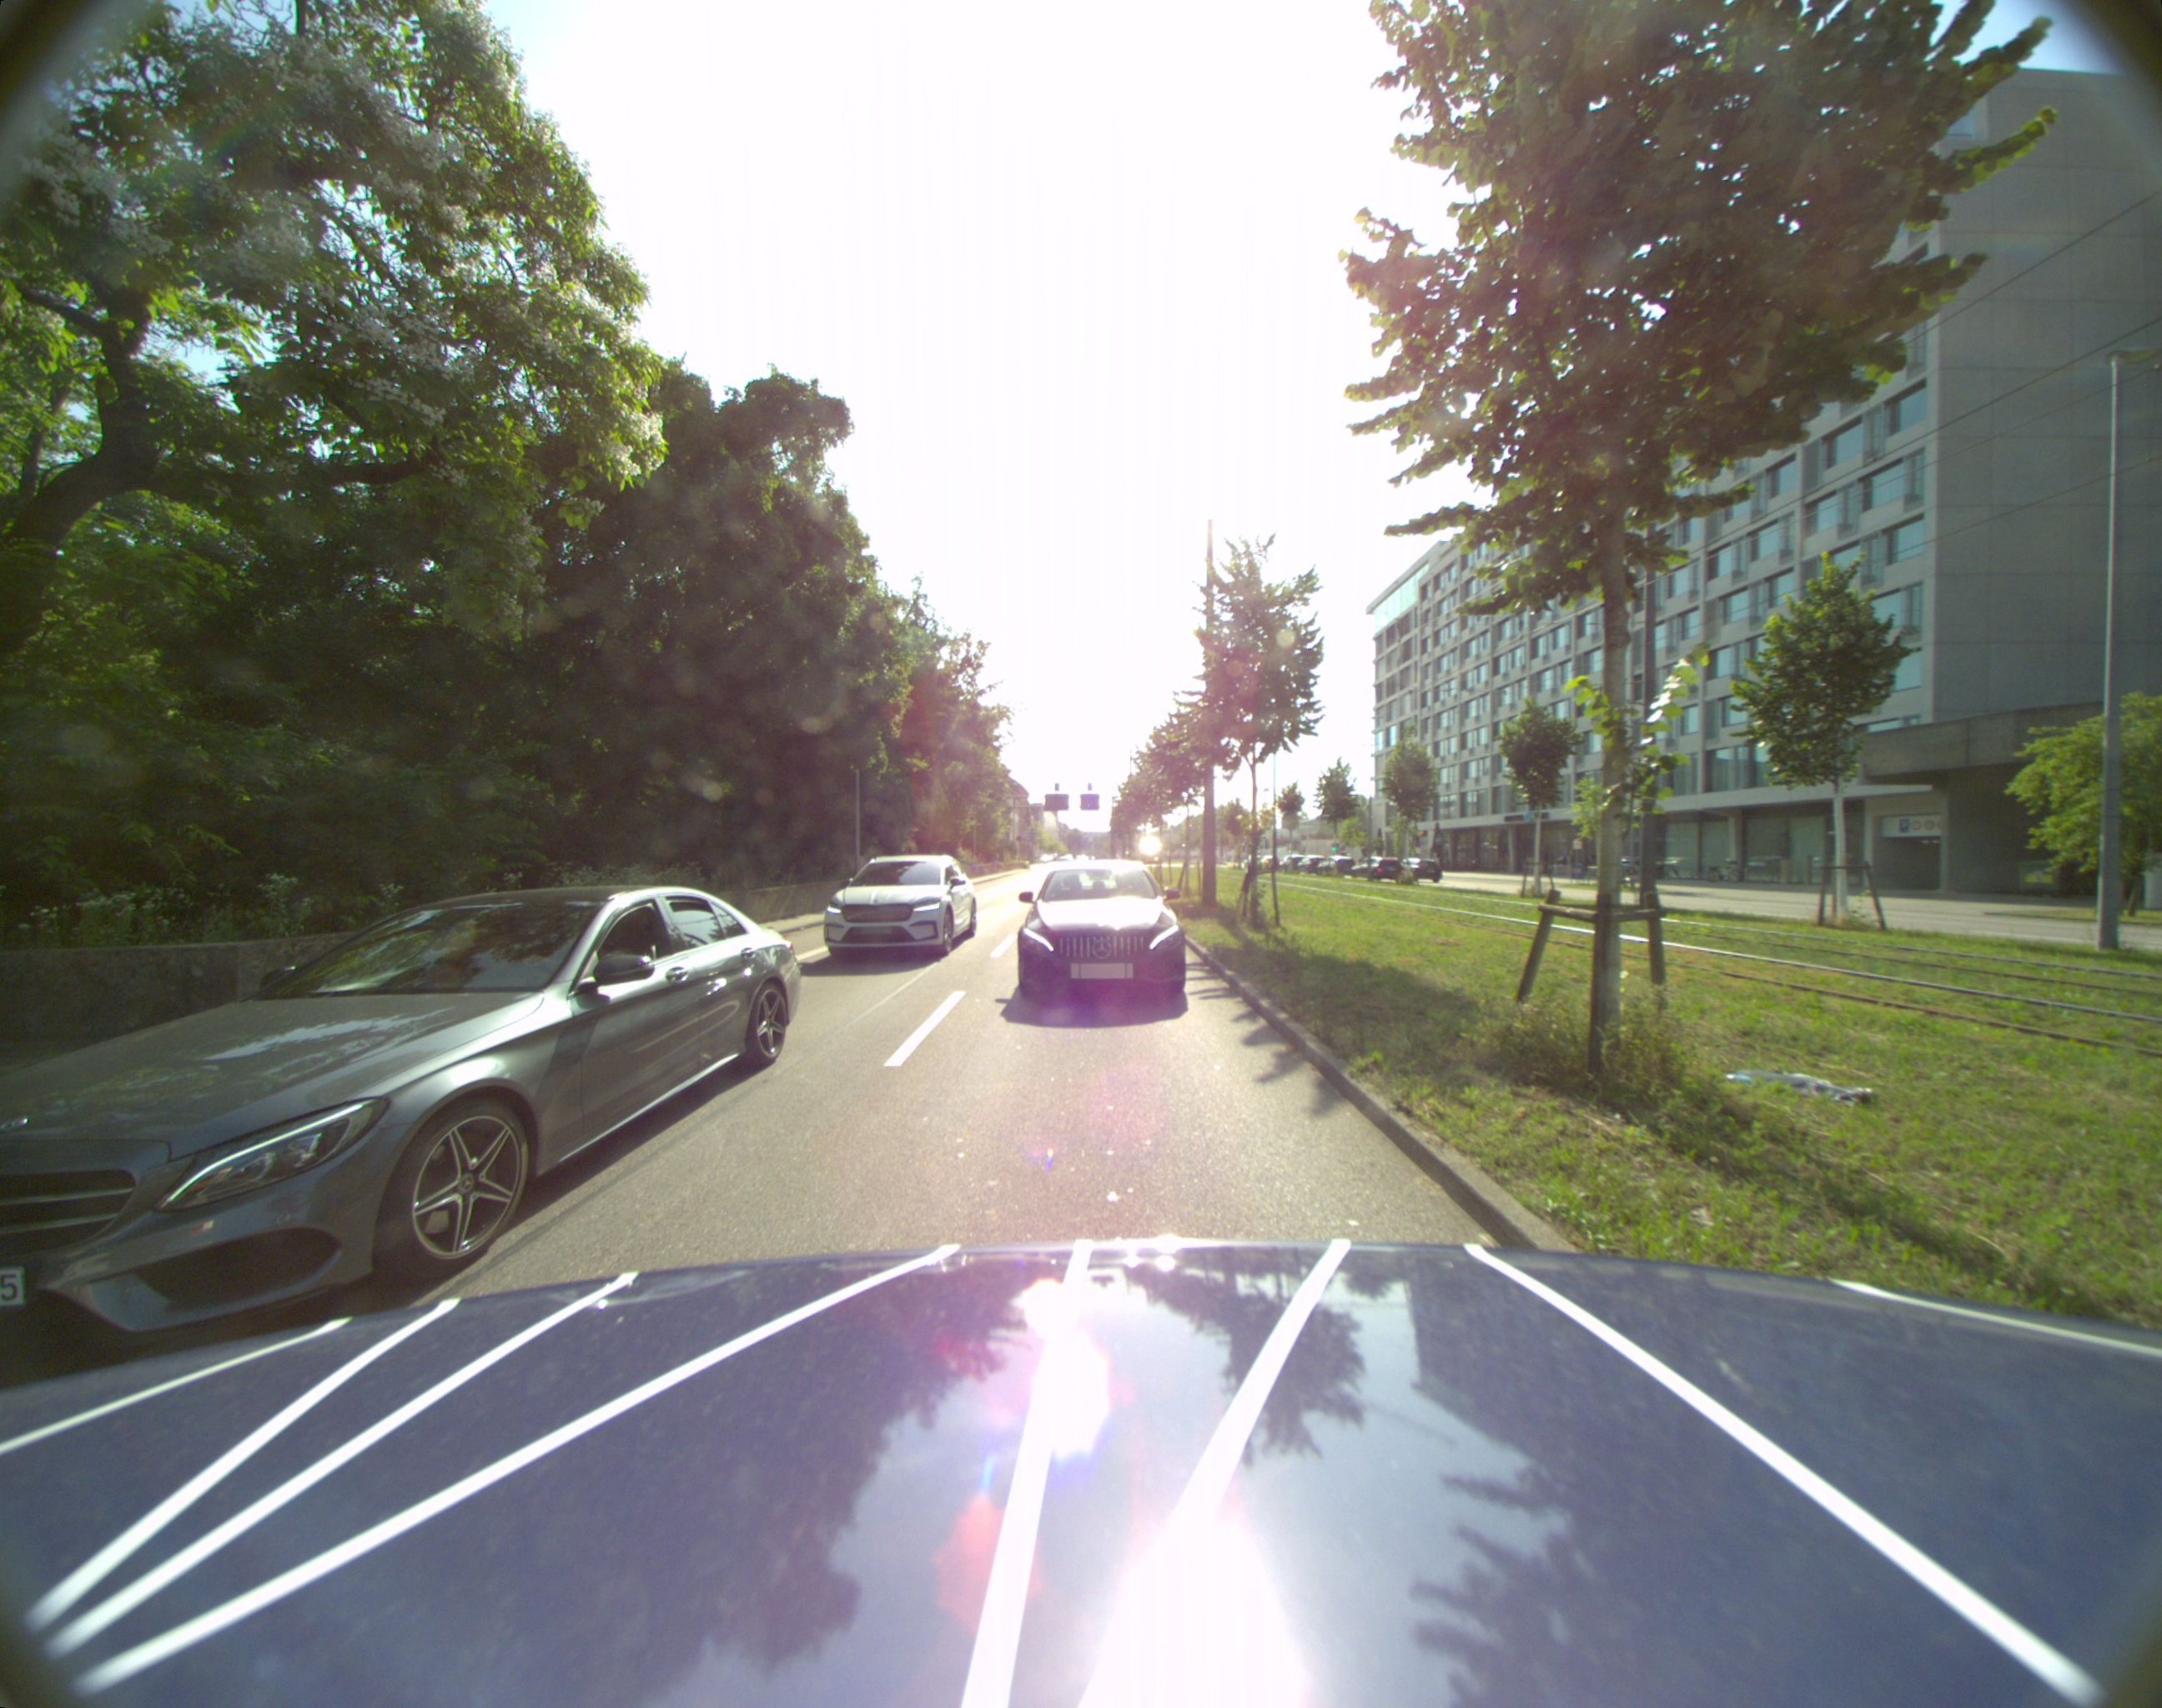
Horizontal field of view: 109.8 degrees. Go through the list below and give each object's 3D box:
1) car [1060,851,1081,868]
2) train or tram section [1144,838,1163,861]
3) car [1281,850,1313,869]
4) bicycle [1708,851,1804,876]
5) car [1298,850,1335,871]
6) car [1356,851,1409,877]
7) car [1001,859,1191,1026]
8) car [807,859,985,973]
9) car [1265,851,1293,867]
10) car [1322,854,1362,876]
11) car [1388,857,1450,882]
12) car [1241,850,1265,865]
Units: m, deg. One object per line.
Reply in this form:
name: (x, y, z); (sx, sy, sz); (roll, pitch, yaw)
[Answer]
car: (-0.998, 0.552, 74.983); (1.998, 1.630, 4.000); (0, 0, 1)
train or tram section: (11.271, -0.656, 118.467); (2.500, 3.409, 6.670); (0, 0, 2)
car: (18.296, 0.437, 64.506); (1.811, 1.565, 4.001); (0, 0, 3)
bicycle: (37.510, 0.535, 42.287); (3.993, 1.358, 1.127); (0, 1, 10)
car: (18.242, 0.495, 59.028); (1.811, 1.565, 4.001); (0, 0, 3)
car: (17.880, 0.533, 45.253); (1.811, 1.472, 4.001); (0, 0, 3)
car: (0.205, 0.864, 9.559); (1.759, 1.437, 4.617); (-2, 1, 2)
car: (-2.955, 0.918, 13.148); (1.897, 1.561, 4.250); (-1, 0, 2)
car: (18.397, 0.440, 70.720); (1.811, 1.466, 4.001); (0, 0, 3)
car: (18.044, 0.748, 52.649); (1.745, 1.478, 3.642); (0, 0, 3)
car: (21.525, 0.950, 48.568); (1.998, 1.482, 4.419); (0, 0, 0)
car: (18.476, 0.331, 81.651); (1.787, 1.516, 4.000); (0, 0, 2)
